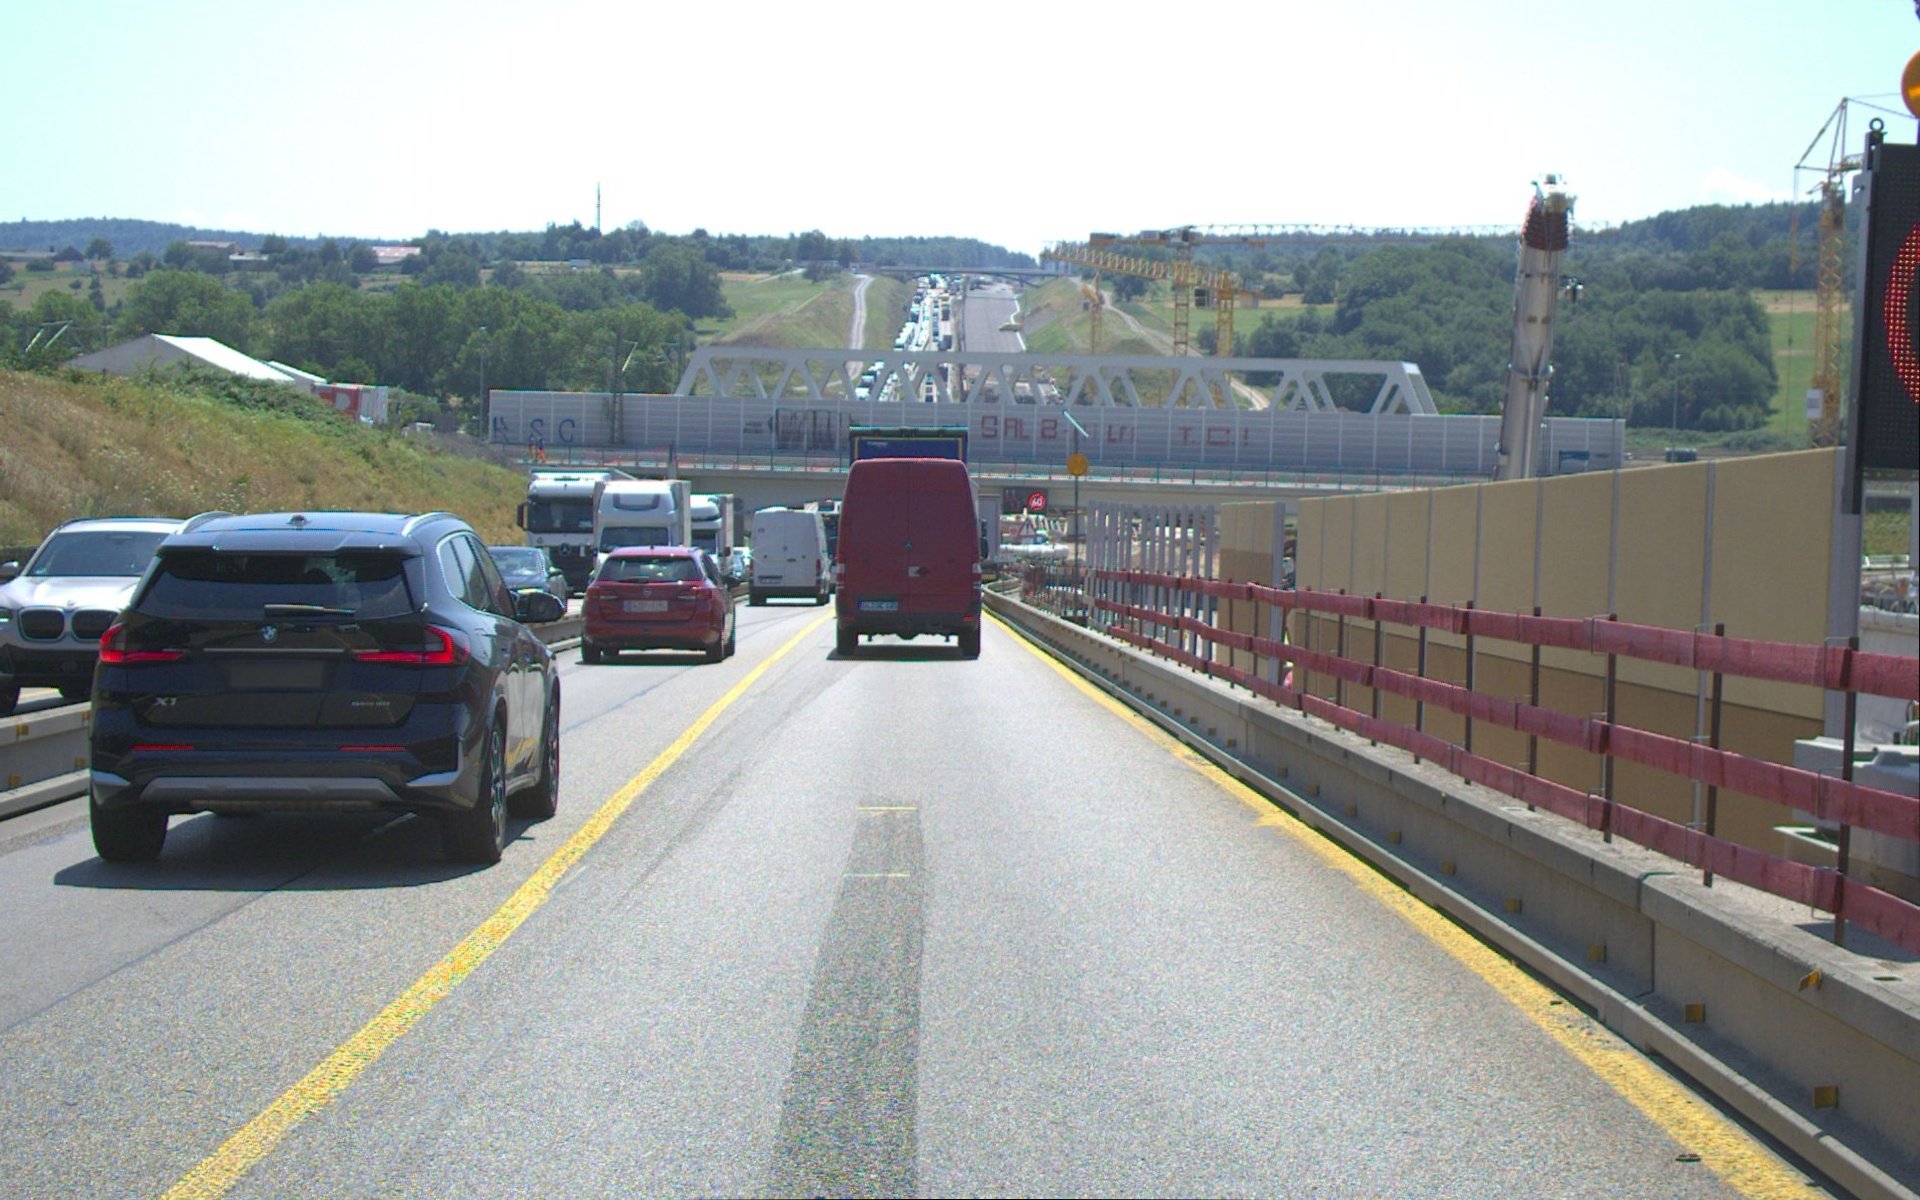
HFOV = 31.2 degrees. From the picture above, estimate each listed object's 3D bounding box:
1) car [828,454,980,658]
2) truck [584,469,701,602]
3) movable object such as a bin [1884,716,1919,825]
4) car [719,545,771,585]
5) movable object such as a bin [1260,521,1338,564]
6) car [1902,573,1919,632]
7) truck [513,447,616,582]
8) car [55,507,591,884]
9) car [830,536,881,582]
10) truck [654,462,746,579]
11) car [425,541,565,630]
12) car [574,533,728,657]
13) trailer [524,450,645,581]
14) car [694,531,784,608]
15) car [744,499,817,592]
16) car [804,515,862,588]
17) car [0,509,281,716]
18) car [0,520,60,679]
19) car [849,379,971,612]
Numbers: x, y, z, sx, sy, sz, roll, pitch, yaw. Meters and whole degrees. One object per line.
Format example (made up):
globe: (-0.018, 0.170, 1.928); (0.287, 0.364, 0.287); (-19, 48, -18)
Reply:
car: (-0.775, -0.620, 47.496); (1.988, 2.681, 4.624); (0, 1, -1)
truck: (-8.397, -1.707, 91.576); (2.538, 3.362, 7.038); (1, 1, -1)
movable object such as a bin: (24.202, 4.164, 79.953); (3.163, 2.437, 7.895); (3, 1, 0)
car: (-8.210, -1.346, 131.299); (1.779, 1.453, 4.721); (1, 1, -1)
movable object such as a bin: (23.015, -3.895, 233.534); (5.147, 2.798, 2.142); (1, 1, 5)
car: (33.725, 0.109, 116.893); (1.805, 2.007, 4.826); (1, 1, -3)
truck: (-12.113, -2.605, 105.566); (2.698, 4.036, 3.955); (1, 1, -1)
car: (-2.973, 0.369, 16.992); (1.879, 1.612, 4.499); (0, 1, -1)
car: (-3.813, -1.506, 126.058); (1.776, 1.664, 4.029); (0, 1, -1)
truck: (-8.644, -2.643, 114.944); (2.589, 3.745, 7.359); (1, 1, -1)
car: (-7.828, -0.274, 58.262); (1.797, 1.422, 4.950); (1, 1, -1)
car: (-3.926, -0.101, 44.232); (1.775, 1.512, 4.207); (0, 1, -3)
trailer: (-12.247, -2.738, 113.172); (2.698, 4.011, 13.703); (1, 1, -1)
car: (-4.892, -0.700, 76.603); (1.839, 1.648, 4.165); (0, 1, -1)
car: (-4.775, -1.462, 92.009); (1.776, 2.433, 4.206); (0, 1, -1)
car: (-4.100, -1.592, 111.747); (1.776, 2.322, 4.206); (0, 1, -1)
car: (-7.353, 0.056, 30.316); (1.845, 1.660, 4.689); (1, 1, -1)
car: (-10.344, -0.014, 33.856); (1.684, 1.580, 5.127); (1, 1, -1)
car: (-1.162, -2.351, 79.514); (2.621, 5.015, 10.397); (0, 1, -1)
